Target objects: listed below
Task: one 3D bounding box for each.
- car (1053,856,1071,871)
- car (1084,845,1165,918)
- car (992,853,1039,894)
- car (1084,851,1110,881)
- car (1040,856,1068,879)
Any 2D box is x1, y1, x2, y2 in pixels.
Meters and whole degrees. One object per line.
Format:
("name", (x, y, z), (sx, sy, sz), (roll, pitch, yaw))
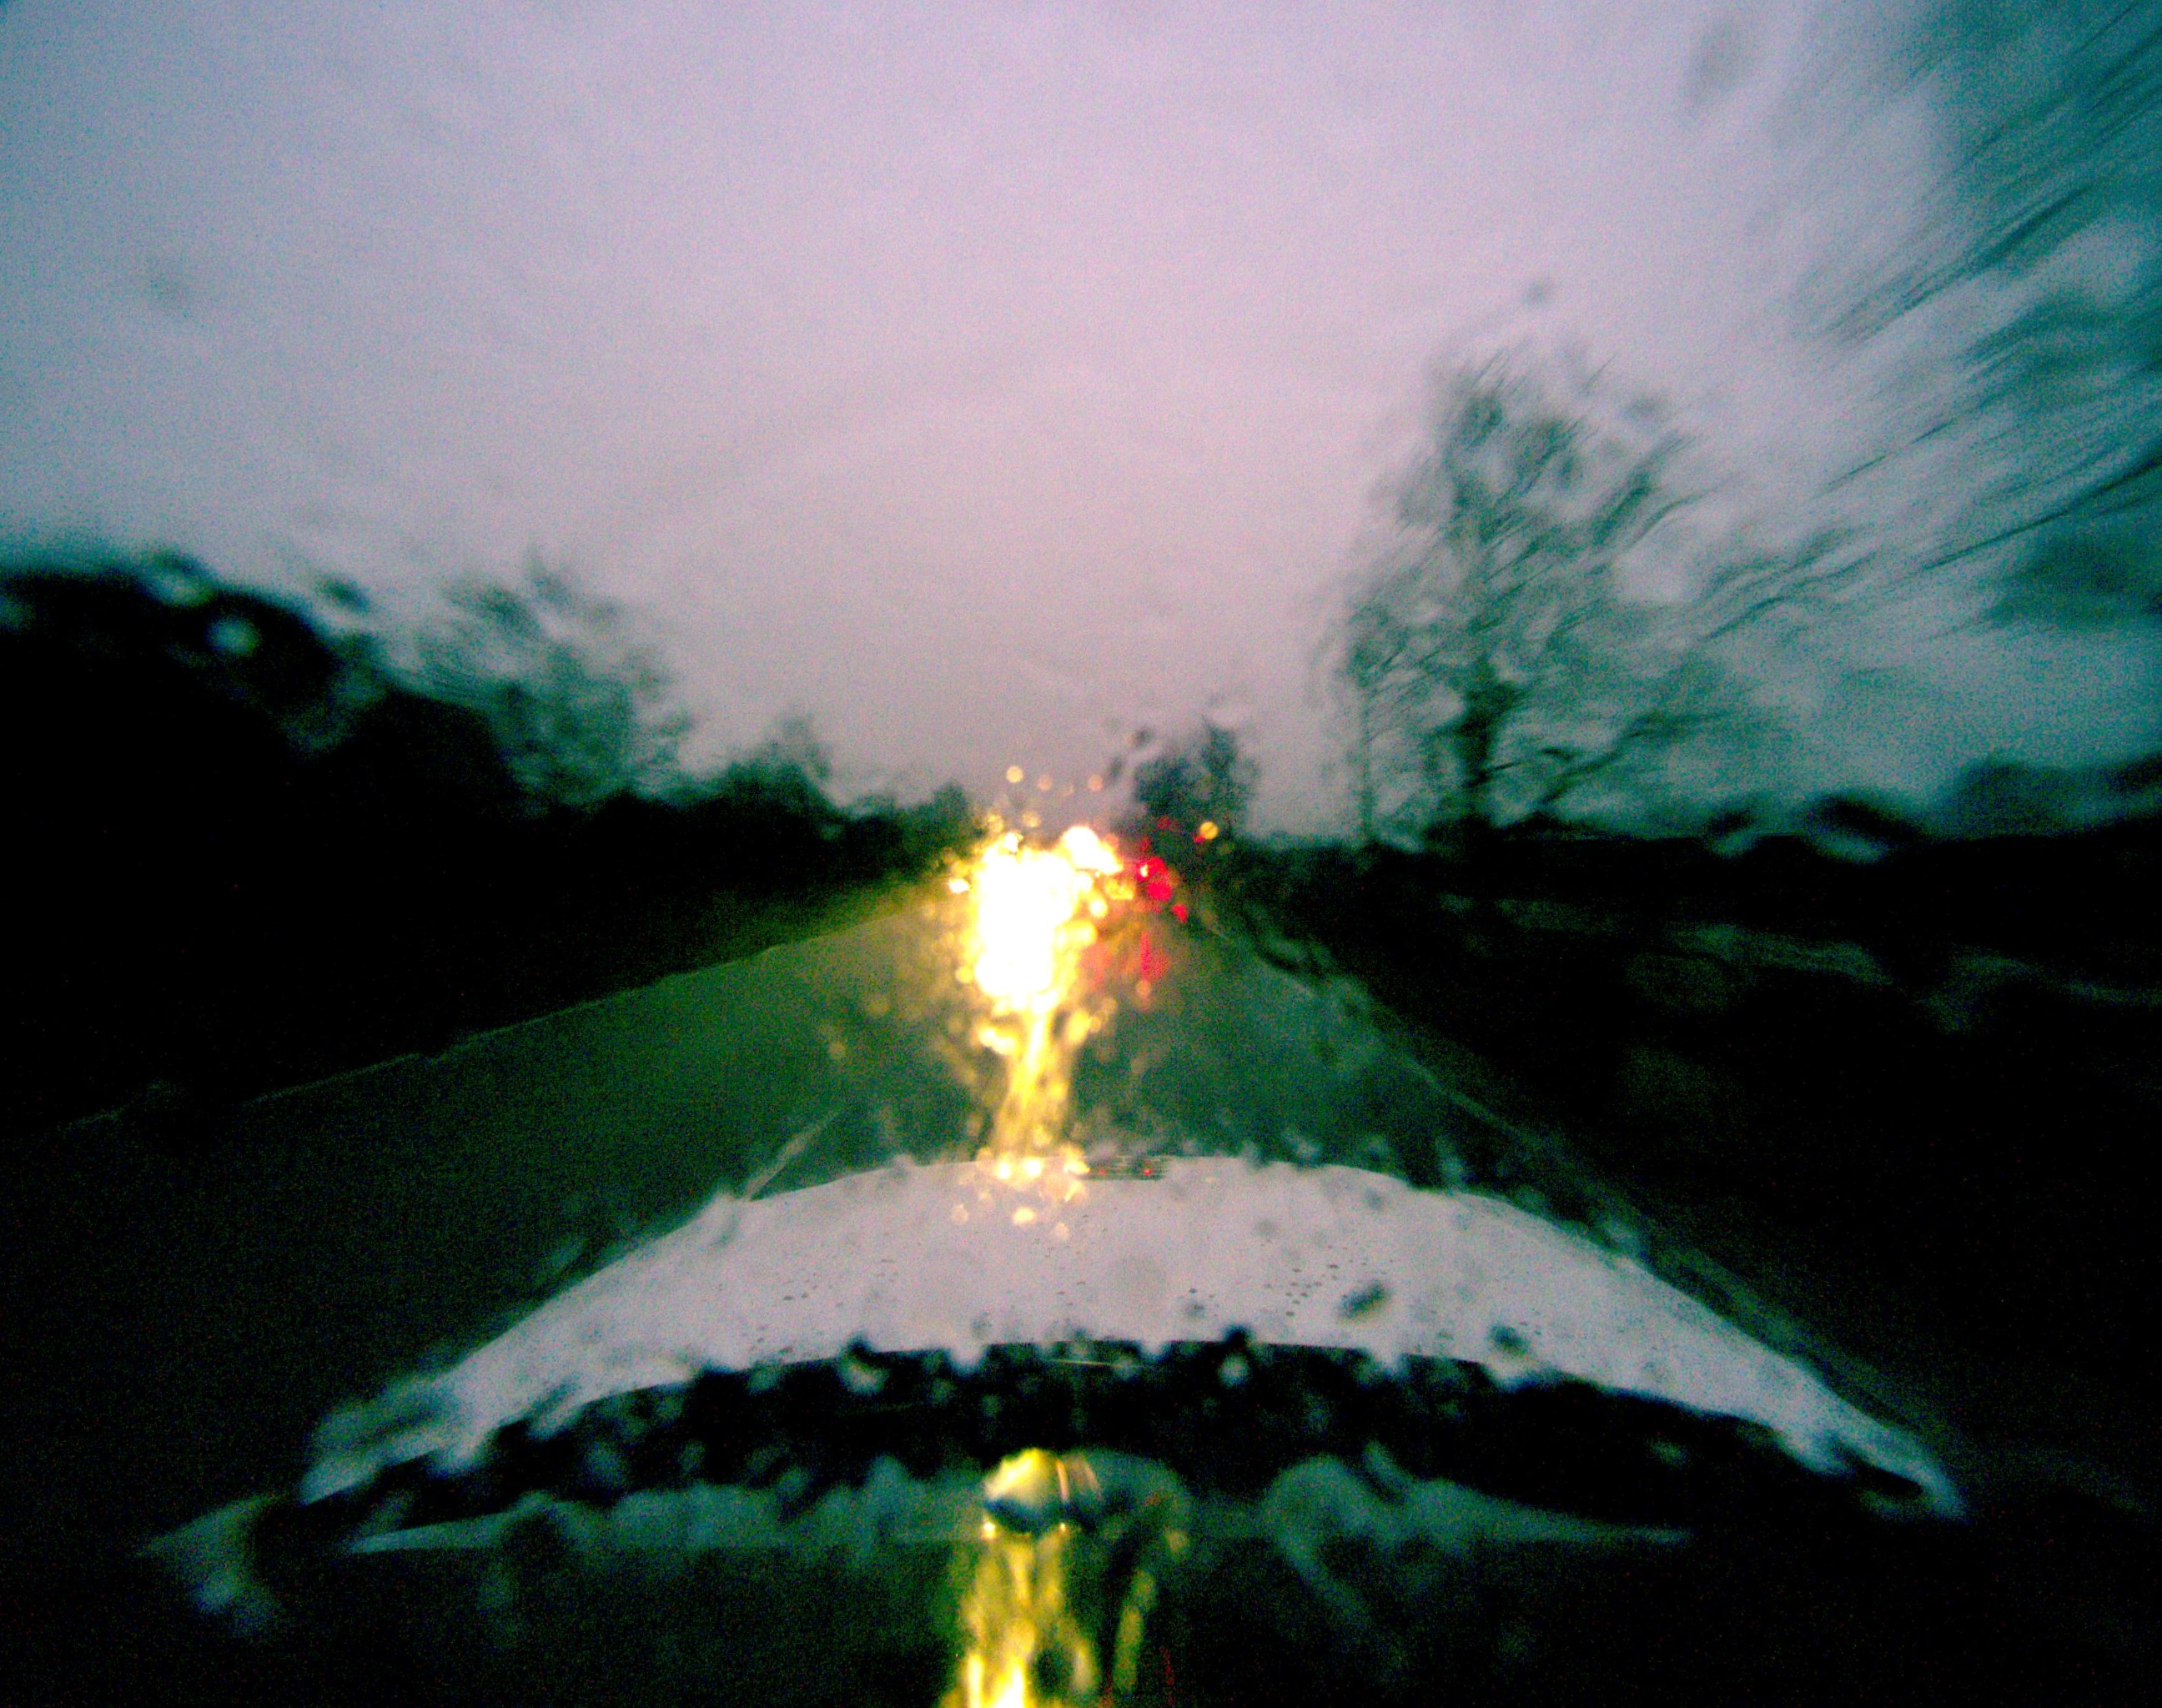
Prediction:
("car", (-2.236, 1.045, 94.552), (1.916, 1.654, 4.104), (-1, 0, 1))
("car", (1.168, 0.691, 21.958), (1.985, 1.784, 4.003), (0, 0, 3))
("car", (-2.791, 0.814, 35.441), (1.747, 1.647, 4.048), (-1, 0, -1))
("car", (1.052, 0.750, 52.576), (1.568, 1.875, 3.712), (0, 0, 3))
("car", (-1.960, 0.975, 60.258), (1.773, 1.596, 4.694), (-1, 0, 2))
